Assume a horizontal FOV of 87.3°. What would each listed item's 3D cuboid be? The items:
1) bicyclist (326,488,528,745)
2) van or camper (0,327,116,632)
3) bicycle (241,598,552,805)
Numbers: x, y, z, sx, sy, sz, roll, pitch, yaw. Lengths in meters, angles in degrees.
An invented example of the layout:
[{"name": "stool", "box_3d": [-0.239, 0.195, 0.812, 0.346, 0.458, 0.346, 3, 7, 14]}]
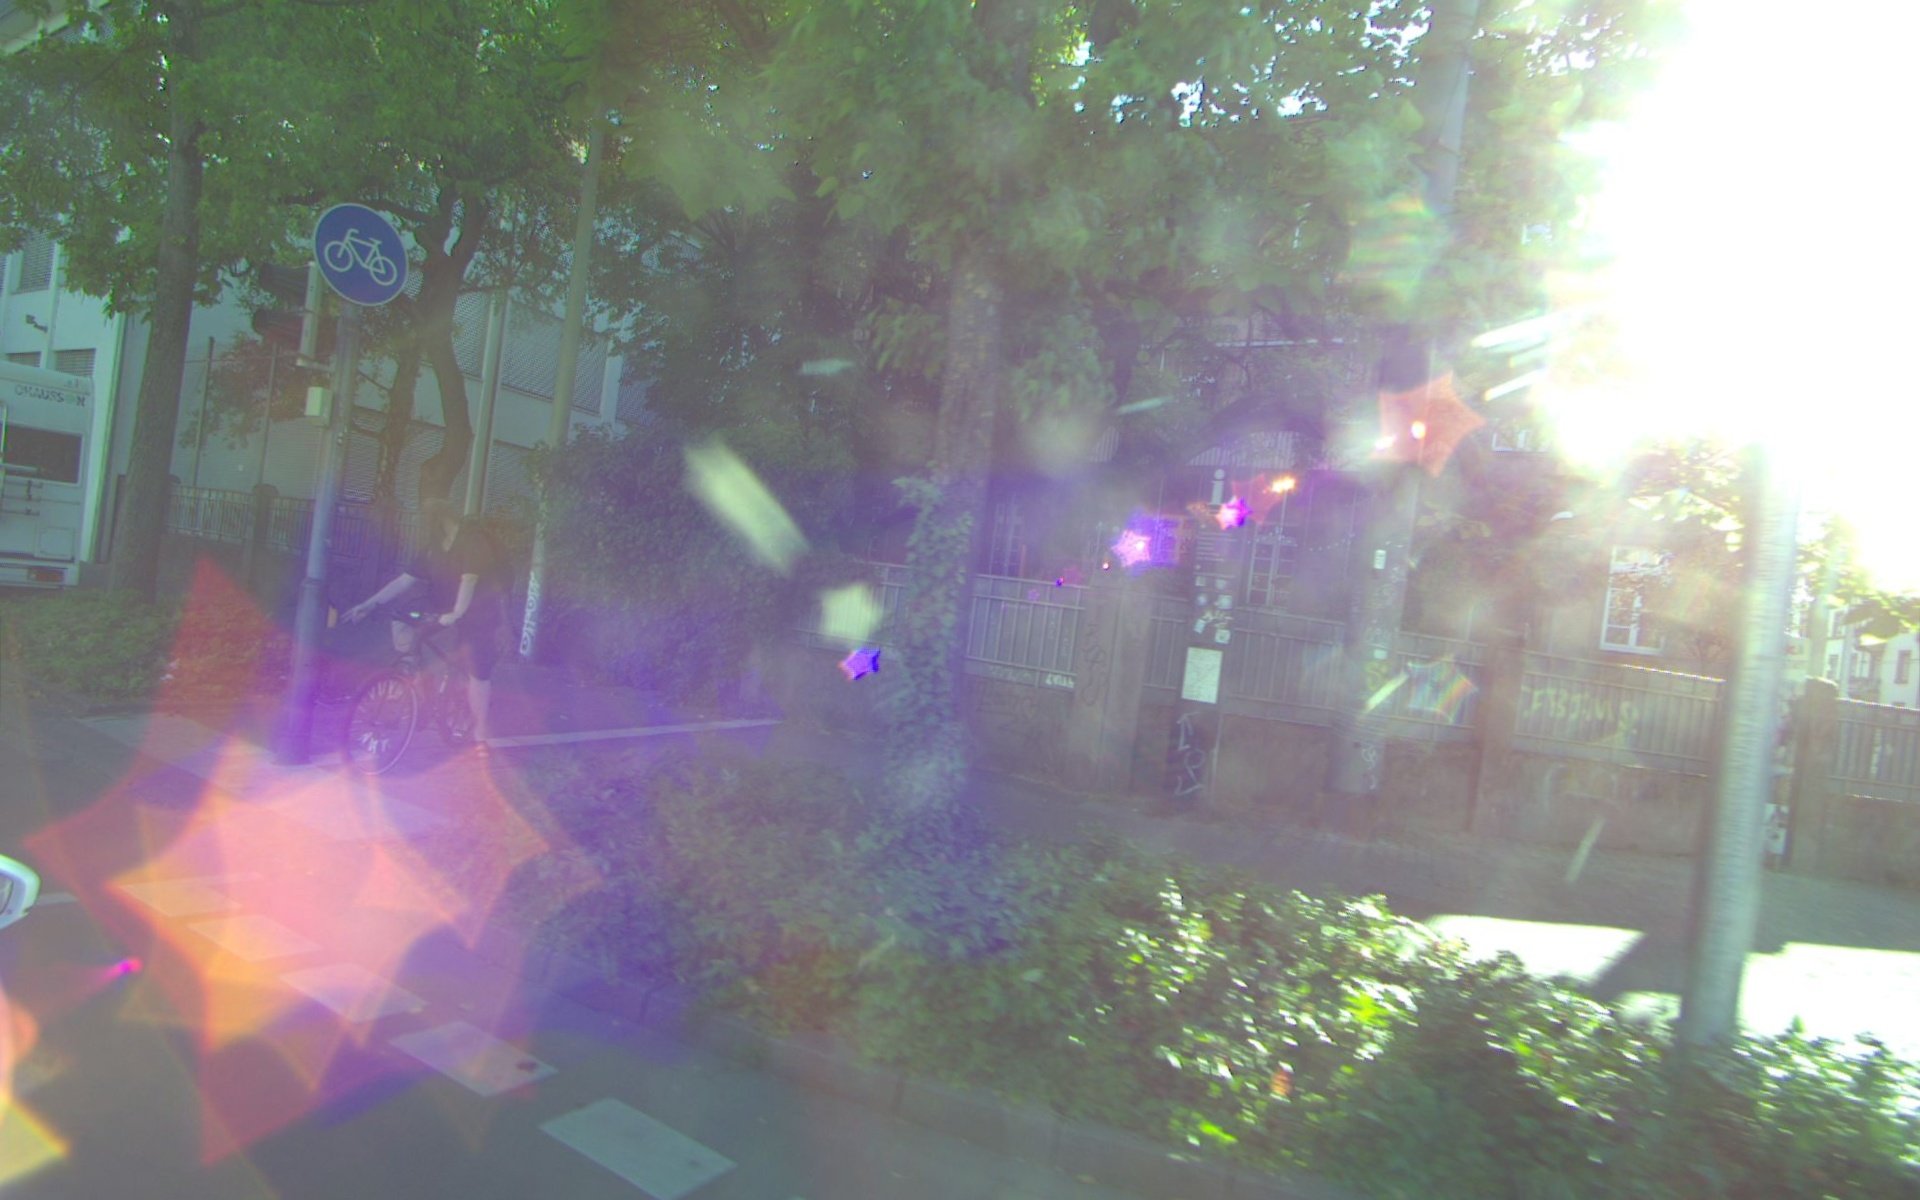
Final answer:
[{"name": "bicyclist", "box_3d": [-3.527, 0.115, 6.712, 0.737, 1.527, 0.702, 8, 0, 8]}, {"name": "van or camper", "box_3d": [-13.362, -1.682, 12.250, 7.425, 3.166, 2.377, 8, 2, 32]}, {"name": "bicycle", "box_3d": [-3.593, 0.622, 6.673, 0.629, 1.082, 1.953, 8, -2, 8]}]
